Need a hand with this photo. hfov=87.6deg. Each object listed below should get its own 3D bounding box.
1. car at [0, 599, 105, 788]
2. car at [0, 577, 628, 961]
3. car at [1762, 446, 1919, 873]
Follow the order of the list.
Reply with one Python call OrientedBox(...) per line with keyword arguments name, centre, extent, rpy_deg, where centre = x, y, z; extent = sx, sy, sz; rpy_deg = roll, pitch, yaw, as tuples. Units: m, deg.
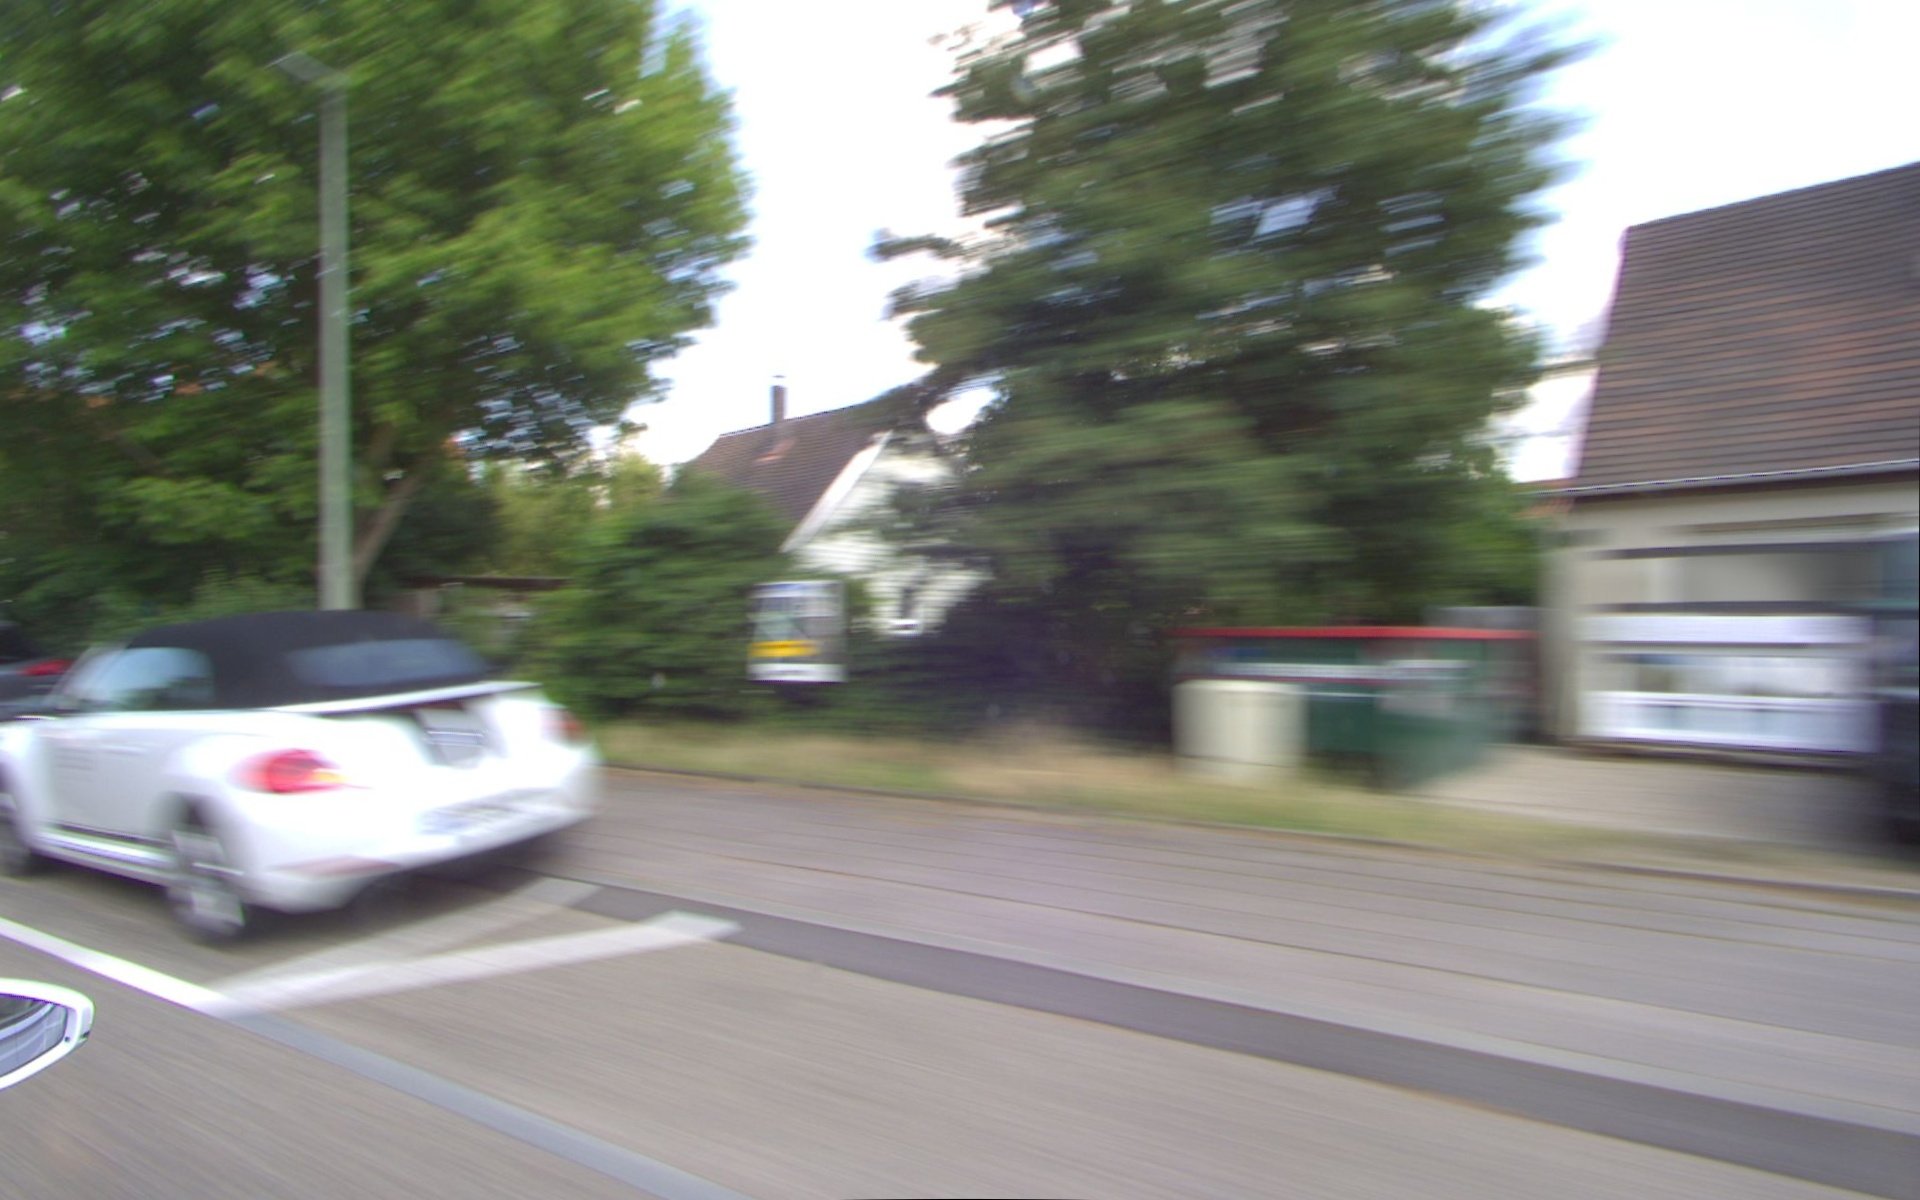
OrientedBox(name="car", centre=(-10.076, 0.799, 9.241), extent=(4.055, 1.605, 1.719), rpy_deg=(0, -2, 24))
OrientedBox(name="car", centre=(-4.155, 0.726, 5.886), extent=(4.393, 1.531, 1.738), rpy_deg=(-1, -2, 31))
OrientedBox(name="car", centre=(7.052, 0.374, 6.107), extent=(5.291, 2.083, 1.987), rpy_deg=(2, -3, -35))
